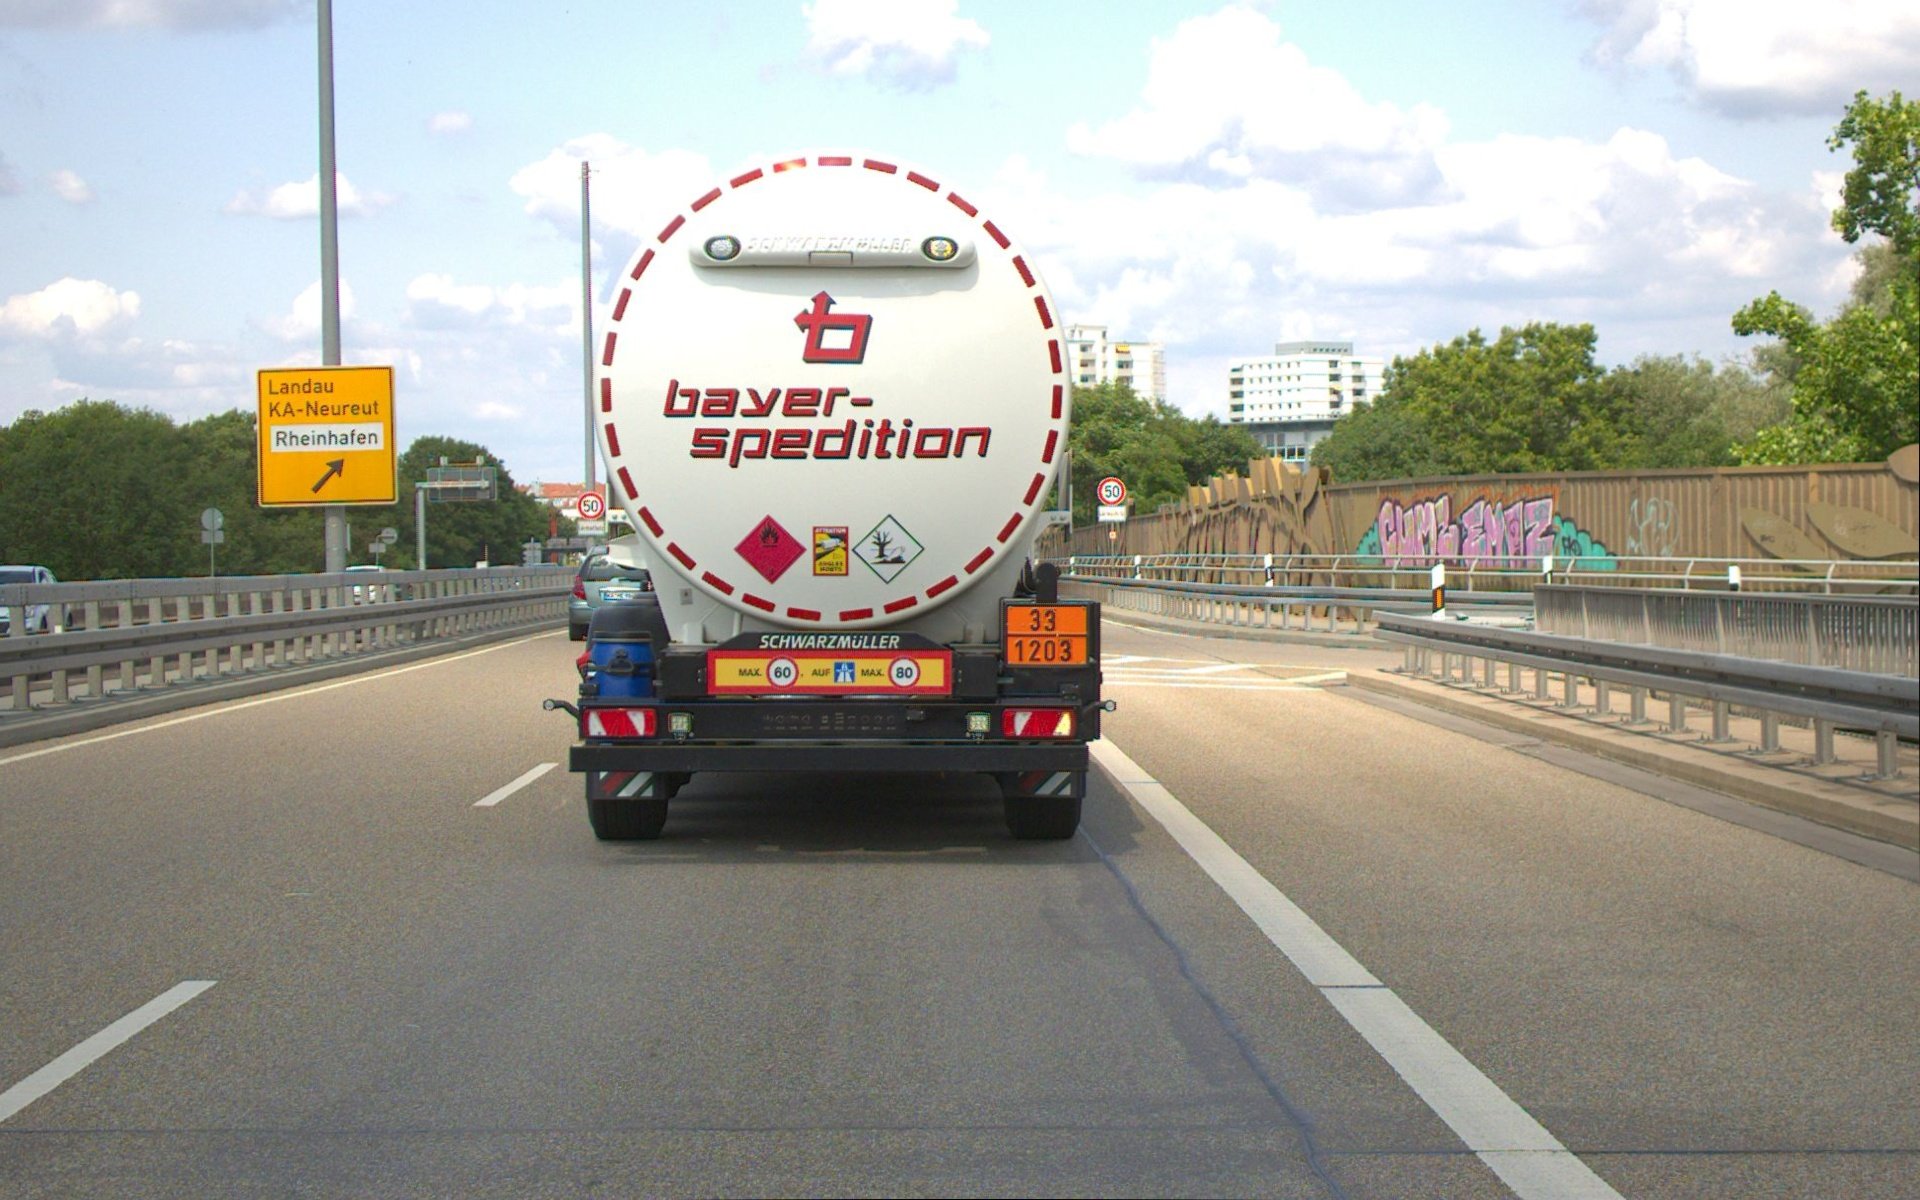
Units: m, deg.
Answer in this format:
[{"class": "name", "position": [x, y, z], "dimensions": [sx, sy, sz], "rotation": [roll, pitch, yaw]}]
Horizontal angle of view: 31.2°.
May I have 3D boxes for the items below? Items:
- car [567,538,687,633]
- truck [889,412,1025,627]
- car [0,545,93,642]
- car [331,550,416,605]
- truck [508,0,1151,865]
[{"class": "car", "position": [-5.615, -0.277, 58.354], "dimensions": [1.747, 1.526, 4.001], "rotation": [0, 1, -2]}, {"class": "truck", "position": [-0.143, -1.866, 81.095], "dimensions": [2.895, 4.791, 8.030], "rotation": [1, 1, -2]}, {"class": "car", "position": [-15.679, -0.142, 56.716], "dimensions": [1.902, 1.524, 4.244], "rotation": [1, 1, -3]}, {"class": "car", "position": [-18.047, -0.726, 105.917], "dimensions": [1.797, 1.590, 4.712], "rotation": [-2, 1, 0]}, {"class": "truck", "position": [-0.724, -1.046, 19.738], "dimensions": [2.895, 4.353, 8.030], "rotation": [1, 1, -2]}]
